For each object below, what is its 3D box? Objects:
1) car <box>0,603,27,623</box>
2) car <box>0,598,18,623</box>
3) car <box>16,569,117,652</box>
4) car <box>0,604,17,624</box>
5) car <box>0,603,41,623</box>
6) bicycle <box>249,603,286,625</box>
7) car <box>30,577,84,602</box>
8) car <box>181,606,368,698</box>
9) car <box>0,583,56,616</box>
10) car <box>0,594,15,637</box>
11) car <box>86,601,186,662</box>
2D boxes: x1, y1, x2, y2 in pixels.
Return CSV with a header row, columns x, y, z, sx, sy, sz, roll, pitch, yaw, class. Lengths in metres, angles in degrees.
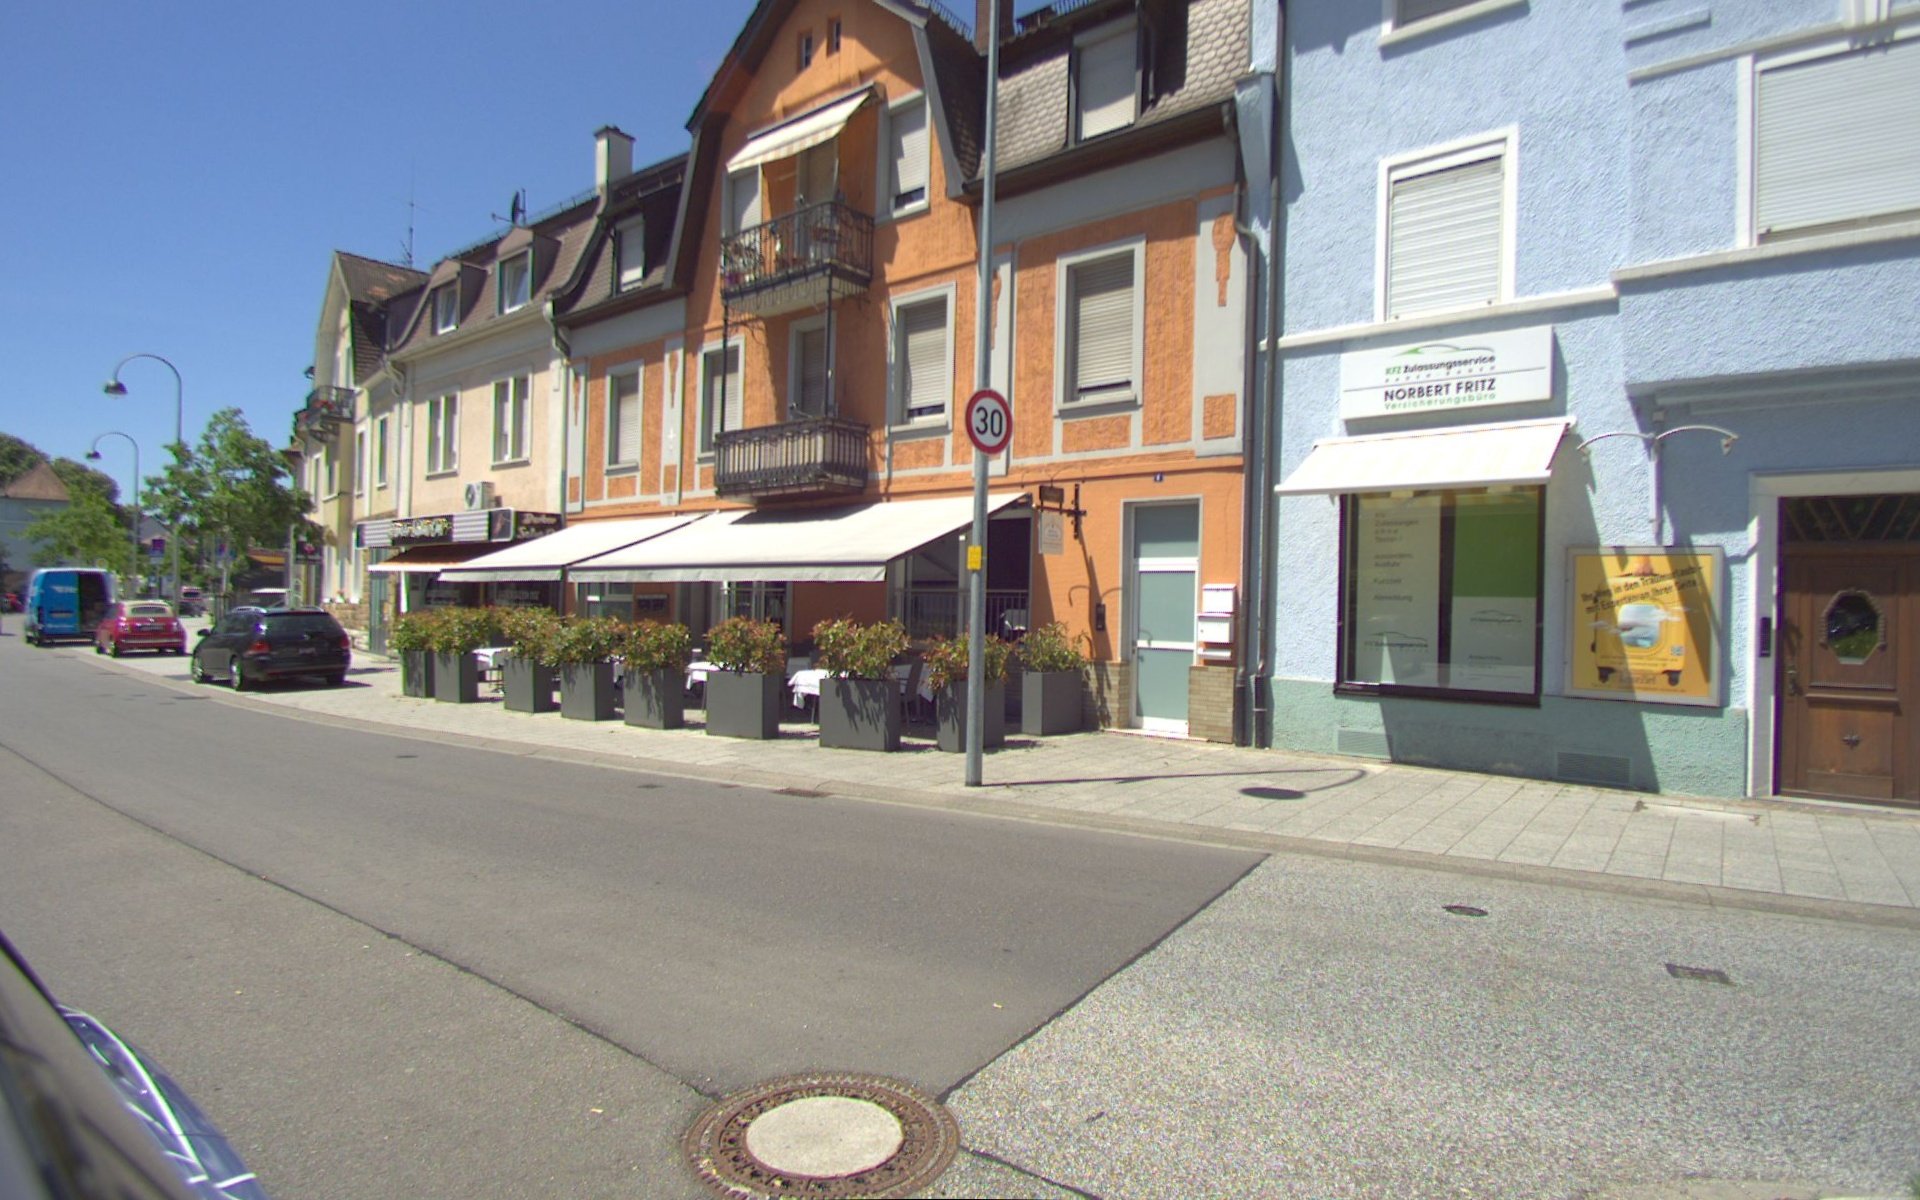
x,y,z,sx,sy,sz,roll,pitch,yaw,class
-74.984,0.987,78.302,3.756,1.473,1.656,3,-4,-33,car
-71.622,0.694,73.912,3.756,1.800,1.846,3,-2,-33,car
-29.751,0.311,33.633,5.504,2.517,2.069,0,0,44,car
-73.928,1.001,76.471,3.558,1.473,1.621,4,-2,-33,car
-77.559,1.017,82.061,4.288,1.562,1.656,3,-2,-35,car
-40.546,0.820,59.277,1.744,1.243,0.617,-1,0,-44,bicycle
-56.922,-0.627,63.863,1.889,1.437,3.991,2,-2,-32,car
-13.173,0.898,19.353,4.335,1.493,1.896,0,1,41,car
-83.967,-0.065,90.162,4.788,2.757,1.856,3,-2,-31,car
-41.689,0.615,42.654,1.967,1.836,4.427,3,-3,-34,car
-23.026,0.826,28.246,3.513,1.532,1.544,1,0,41,car
